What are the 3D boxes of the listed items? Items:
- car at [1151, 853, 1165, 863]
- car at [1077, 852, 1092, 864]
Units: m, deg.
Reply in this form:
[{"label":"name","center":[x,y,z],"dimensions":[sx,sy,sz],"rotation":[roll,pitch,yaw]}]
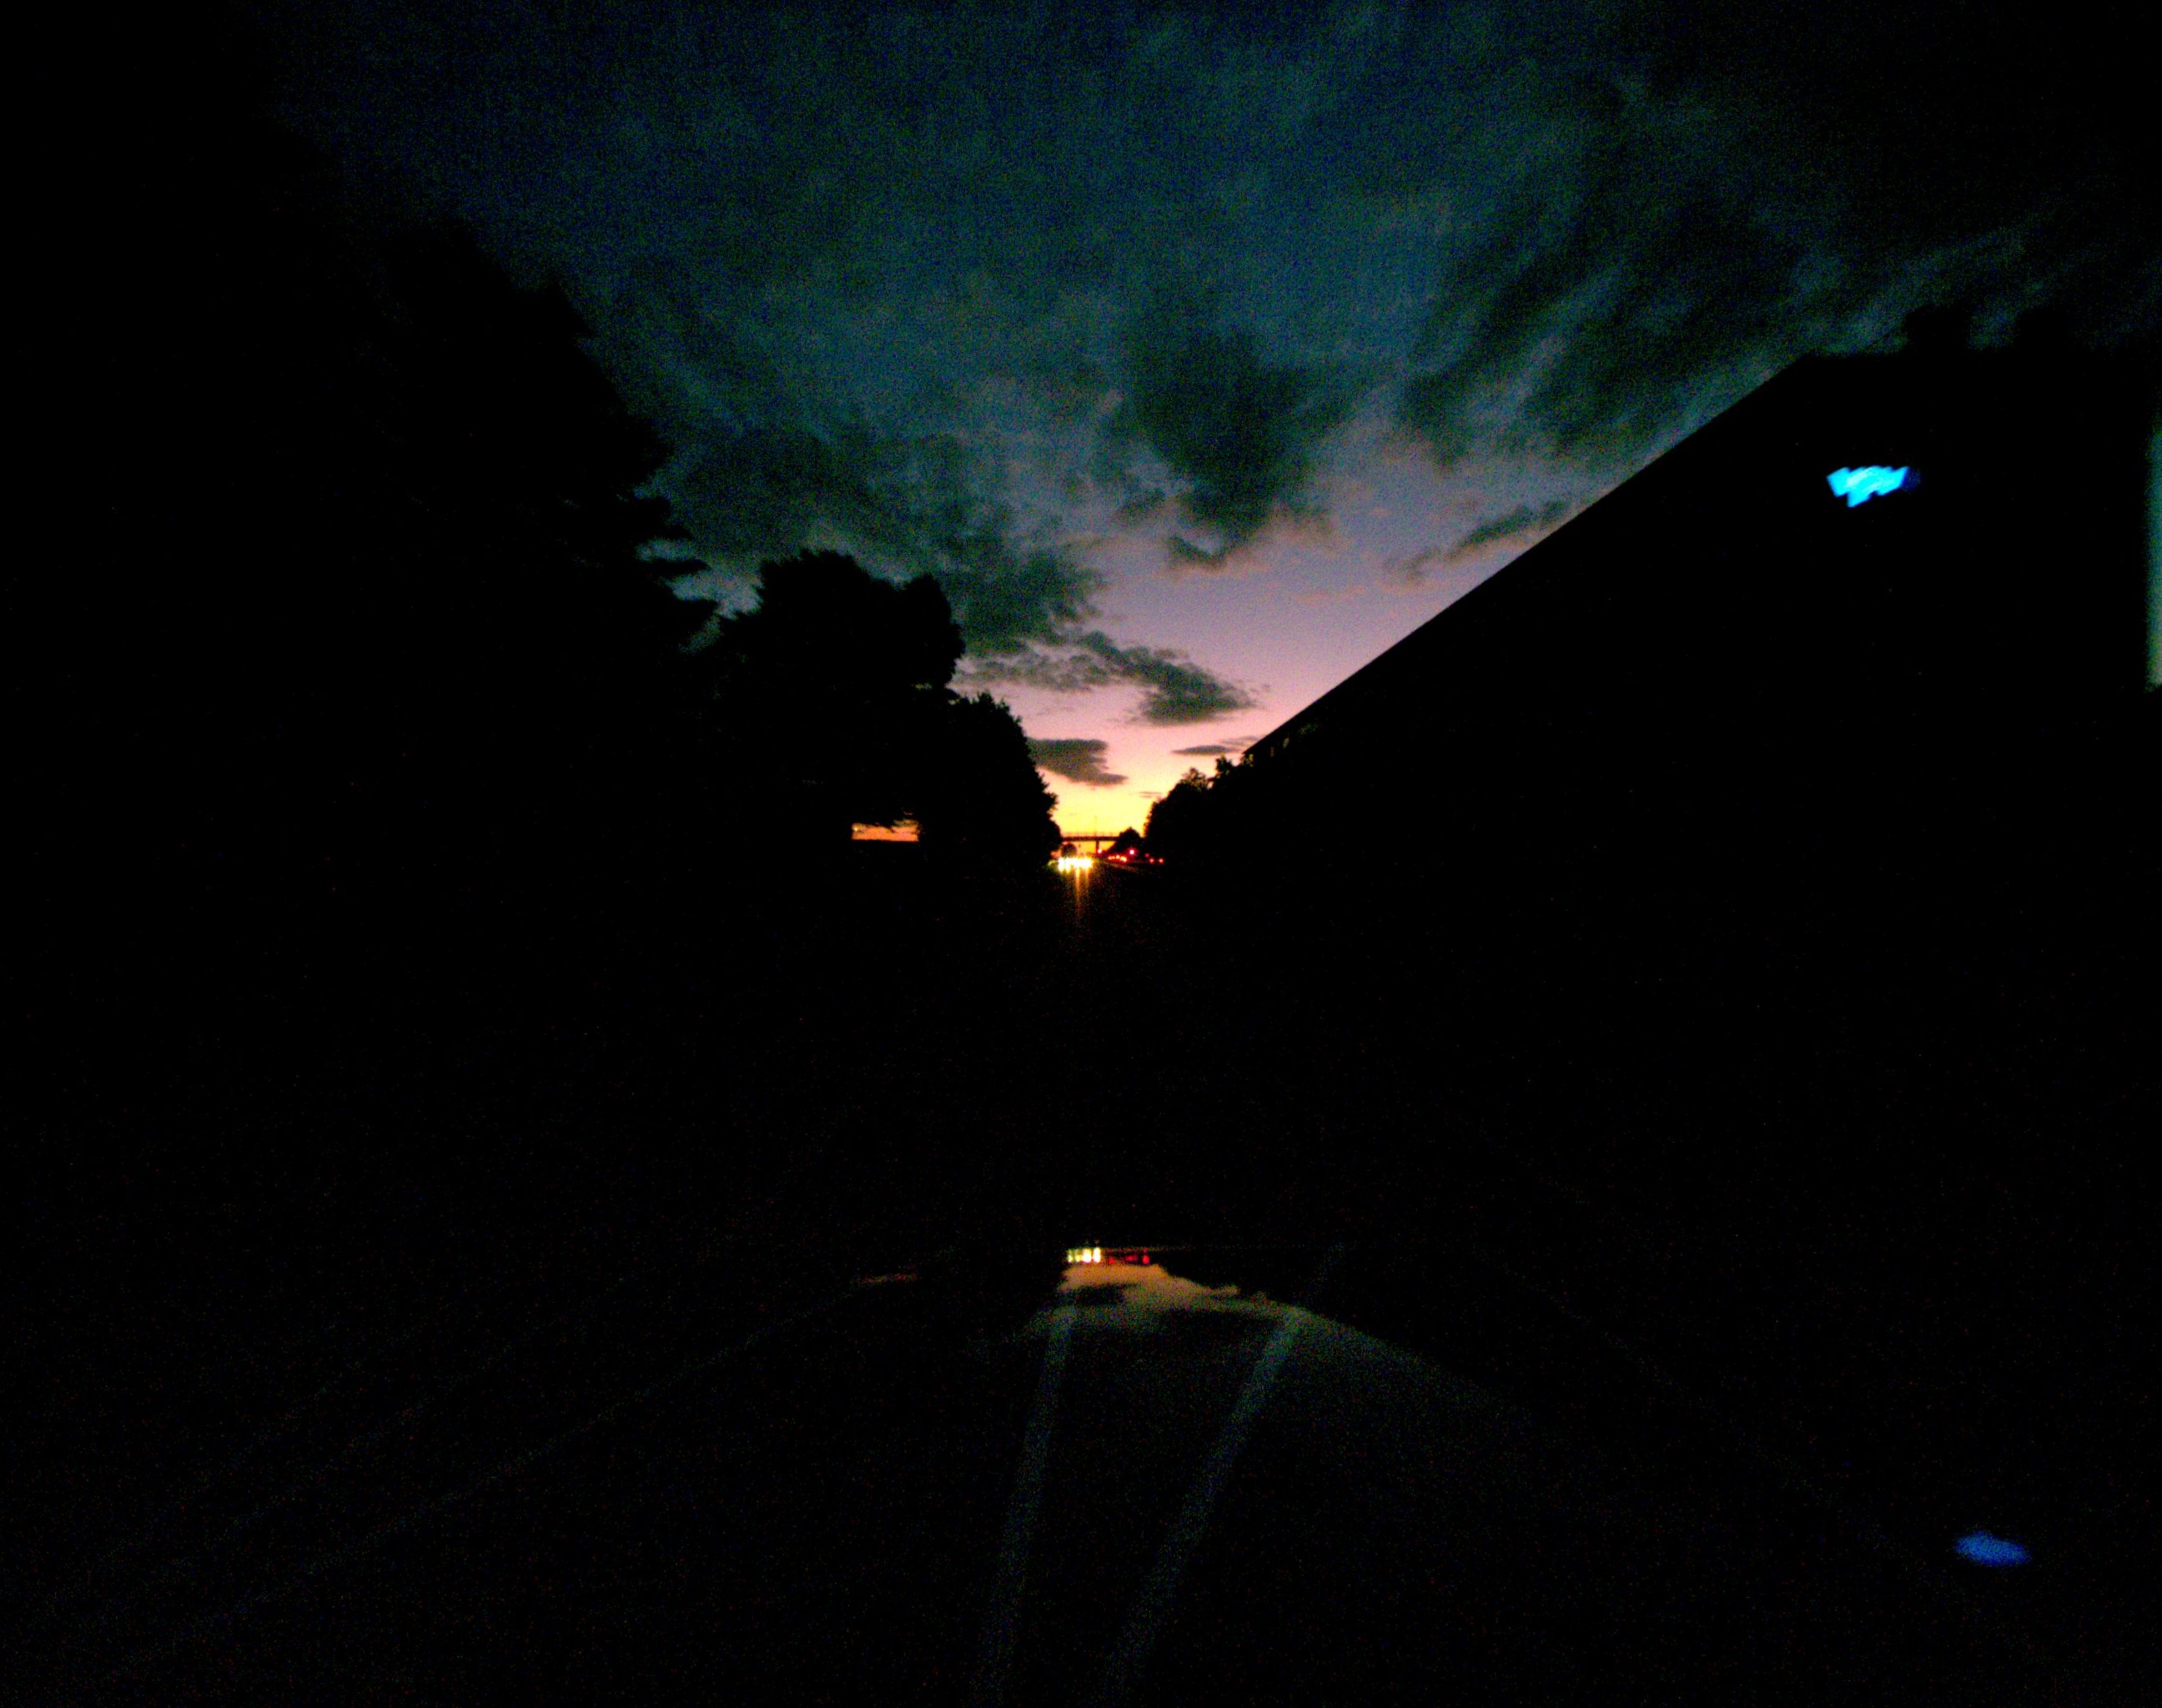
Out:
[{"label":"car","center":[10.837,0.490,107.178],"dimensions":[1.693,1.372,3.571],"rotation":[-1,0,0]},{"label":"car","center":[0.466,0.542,95.799],"dimensions":[1.755,1.447,3.804],"rotation":[-2,0,2]}]
